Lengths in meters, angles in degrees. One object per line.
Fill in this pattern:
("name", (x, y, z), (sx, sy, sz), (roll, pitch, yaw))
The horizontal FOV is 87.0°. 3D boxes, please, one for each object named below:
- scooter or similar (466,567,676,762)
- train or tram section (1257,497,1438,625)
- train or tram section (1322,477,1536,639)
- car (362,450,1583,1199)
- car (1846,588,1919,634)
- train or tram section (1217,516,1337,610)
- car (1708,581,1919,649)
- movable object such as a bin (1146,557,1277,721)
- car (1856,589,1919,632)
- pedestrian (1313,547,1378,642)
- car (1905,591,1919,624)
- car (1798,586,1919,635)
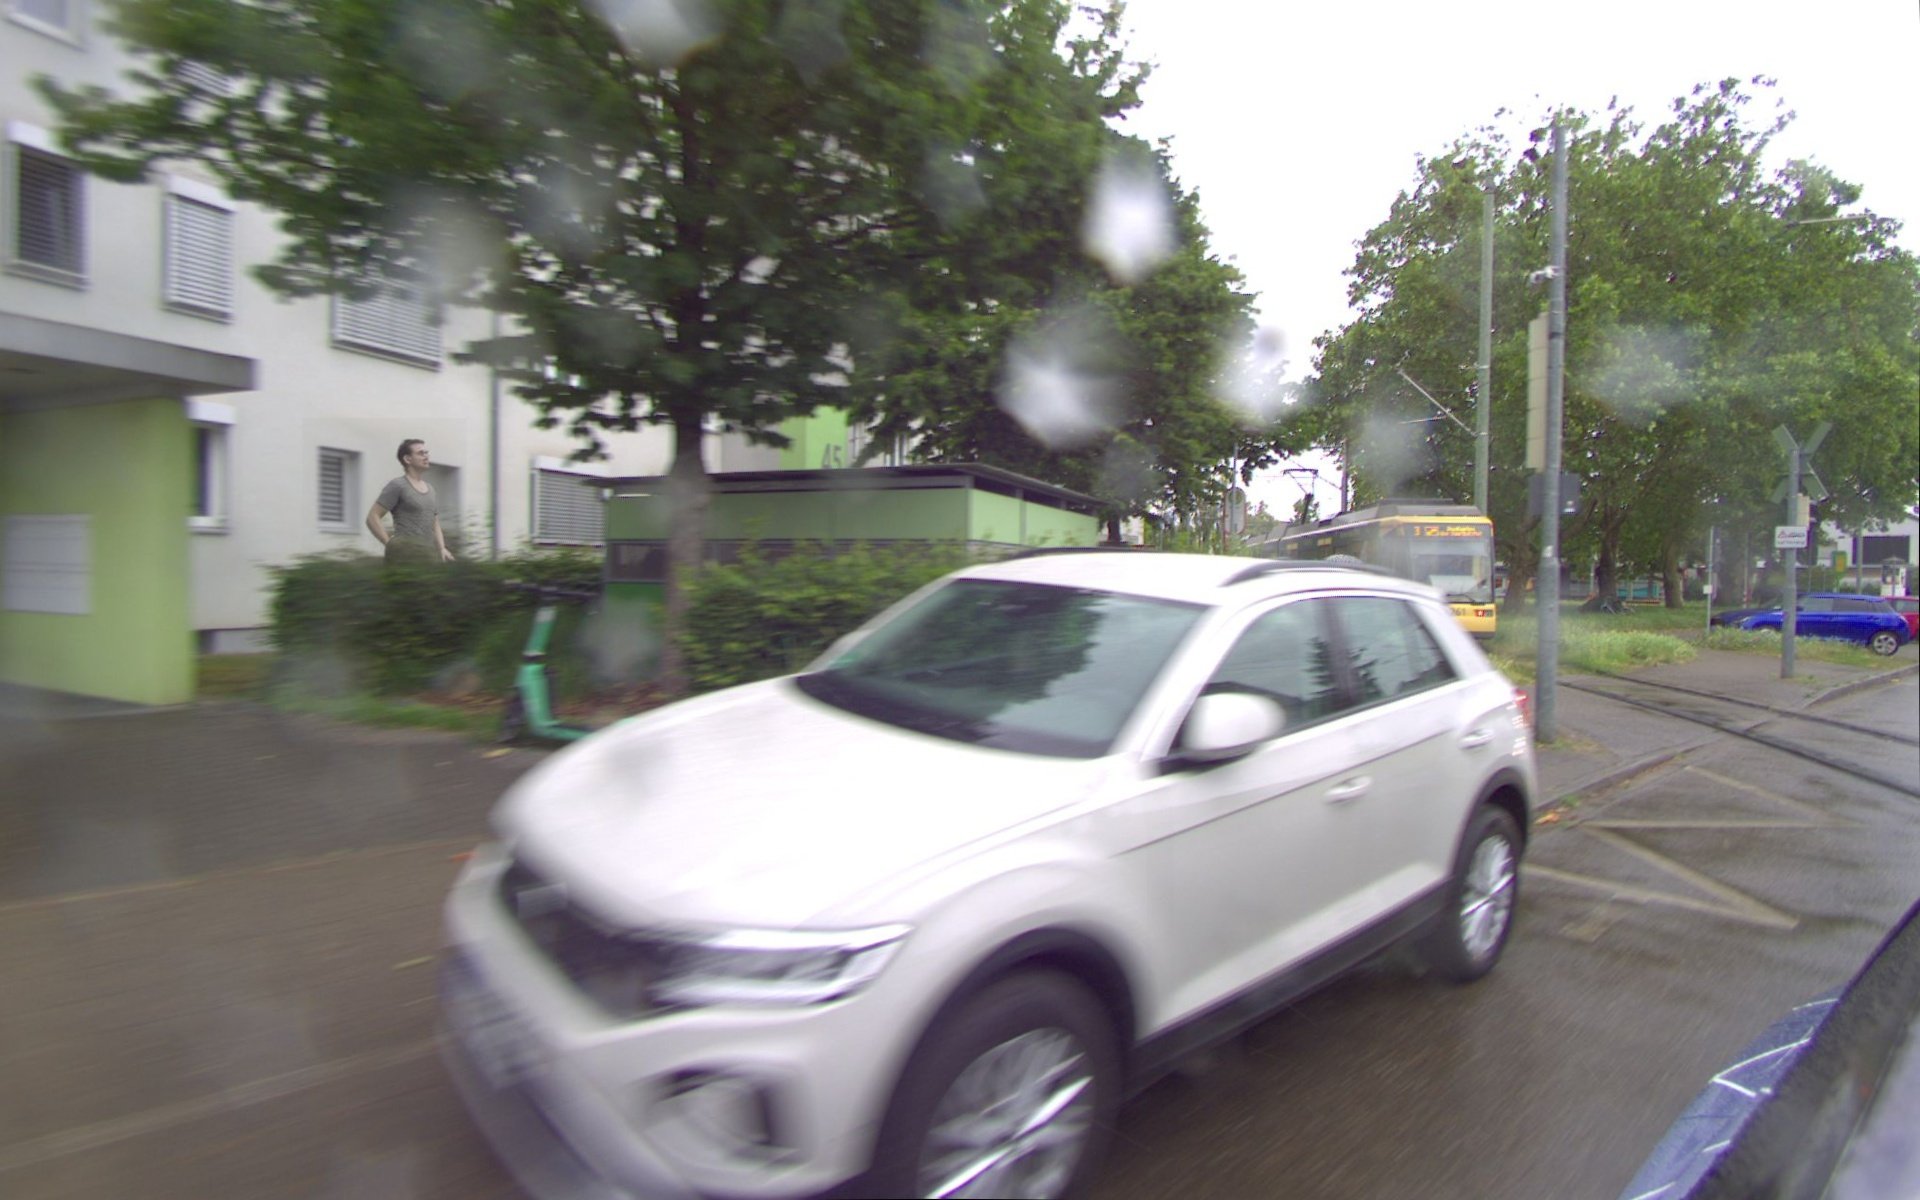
("scooter or similar", (-2.701, 0.424, 7.065), (1.303, 1.277, 0.474), (1, 1, 8))
("train or tram section", (11.843, -1.202, 32.208), (2.709, 3.381, 10.337), (1, 2, 6))
("train or tram section", (11.035, -0.993, 24.591), (2.710, 3.381, 6.392), (1, 2, 6))
("car", (0.412, 0.533, 3.536), (4.041, 1.594, 1.903), (0, 2, -42))
("car", (33.253, 0.405, 34.923), (3.668, 1.502, 1.606), (2, 2, 25))
("train or tram section", (12.908, -1.503, 42.187), (2.709, 3.381, 10.337), (1, 2, 6))
("car", (21.451, 0.342, 25.371), (3.947, 1.546, 1.710), (1, 1, 18))
("movable object such as a bin", (2.413, 0.323, 9.923), (1.134, 1.458, 1.472), (1, 1, 11))
("car", (35.687, 0.409, 37.267), (3.668, 1.502, 1.606), (2, 2, 25))
("pedestrian", (7.582, -0.121, 19.946), (0.849, 1.796, 1.019), (1, 1, 1))
("car", (45.026, 0.378, 45.225), (3.668, 1.433, 1.606), (2, 2, 25))
("car", (30.034, 0.338, 33.210), (3.538, 1.477, 1.606), (2, 2, 24))
